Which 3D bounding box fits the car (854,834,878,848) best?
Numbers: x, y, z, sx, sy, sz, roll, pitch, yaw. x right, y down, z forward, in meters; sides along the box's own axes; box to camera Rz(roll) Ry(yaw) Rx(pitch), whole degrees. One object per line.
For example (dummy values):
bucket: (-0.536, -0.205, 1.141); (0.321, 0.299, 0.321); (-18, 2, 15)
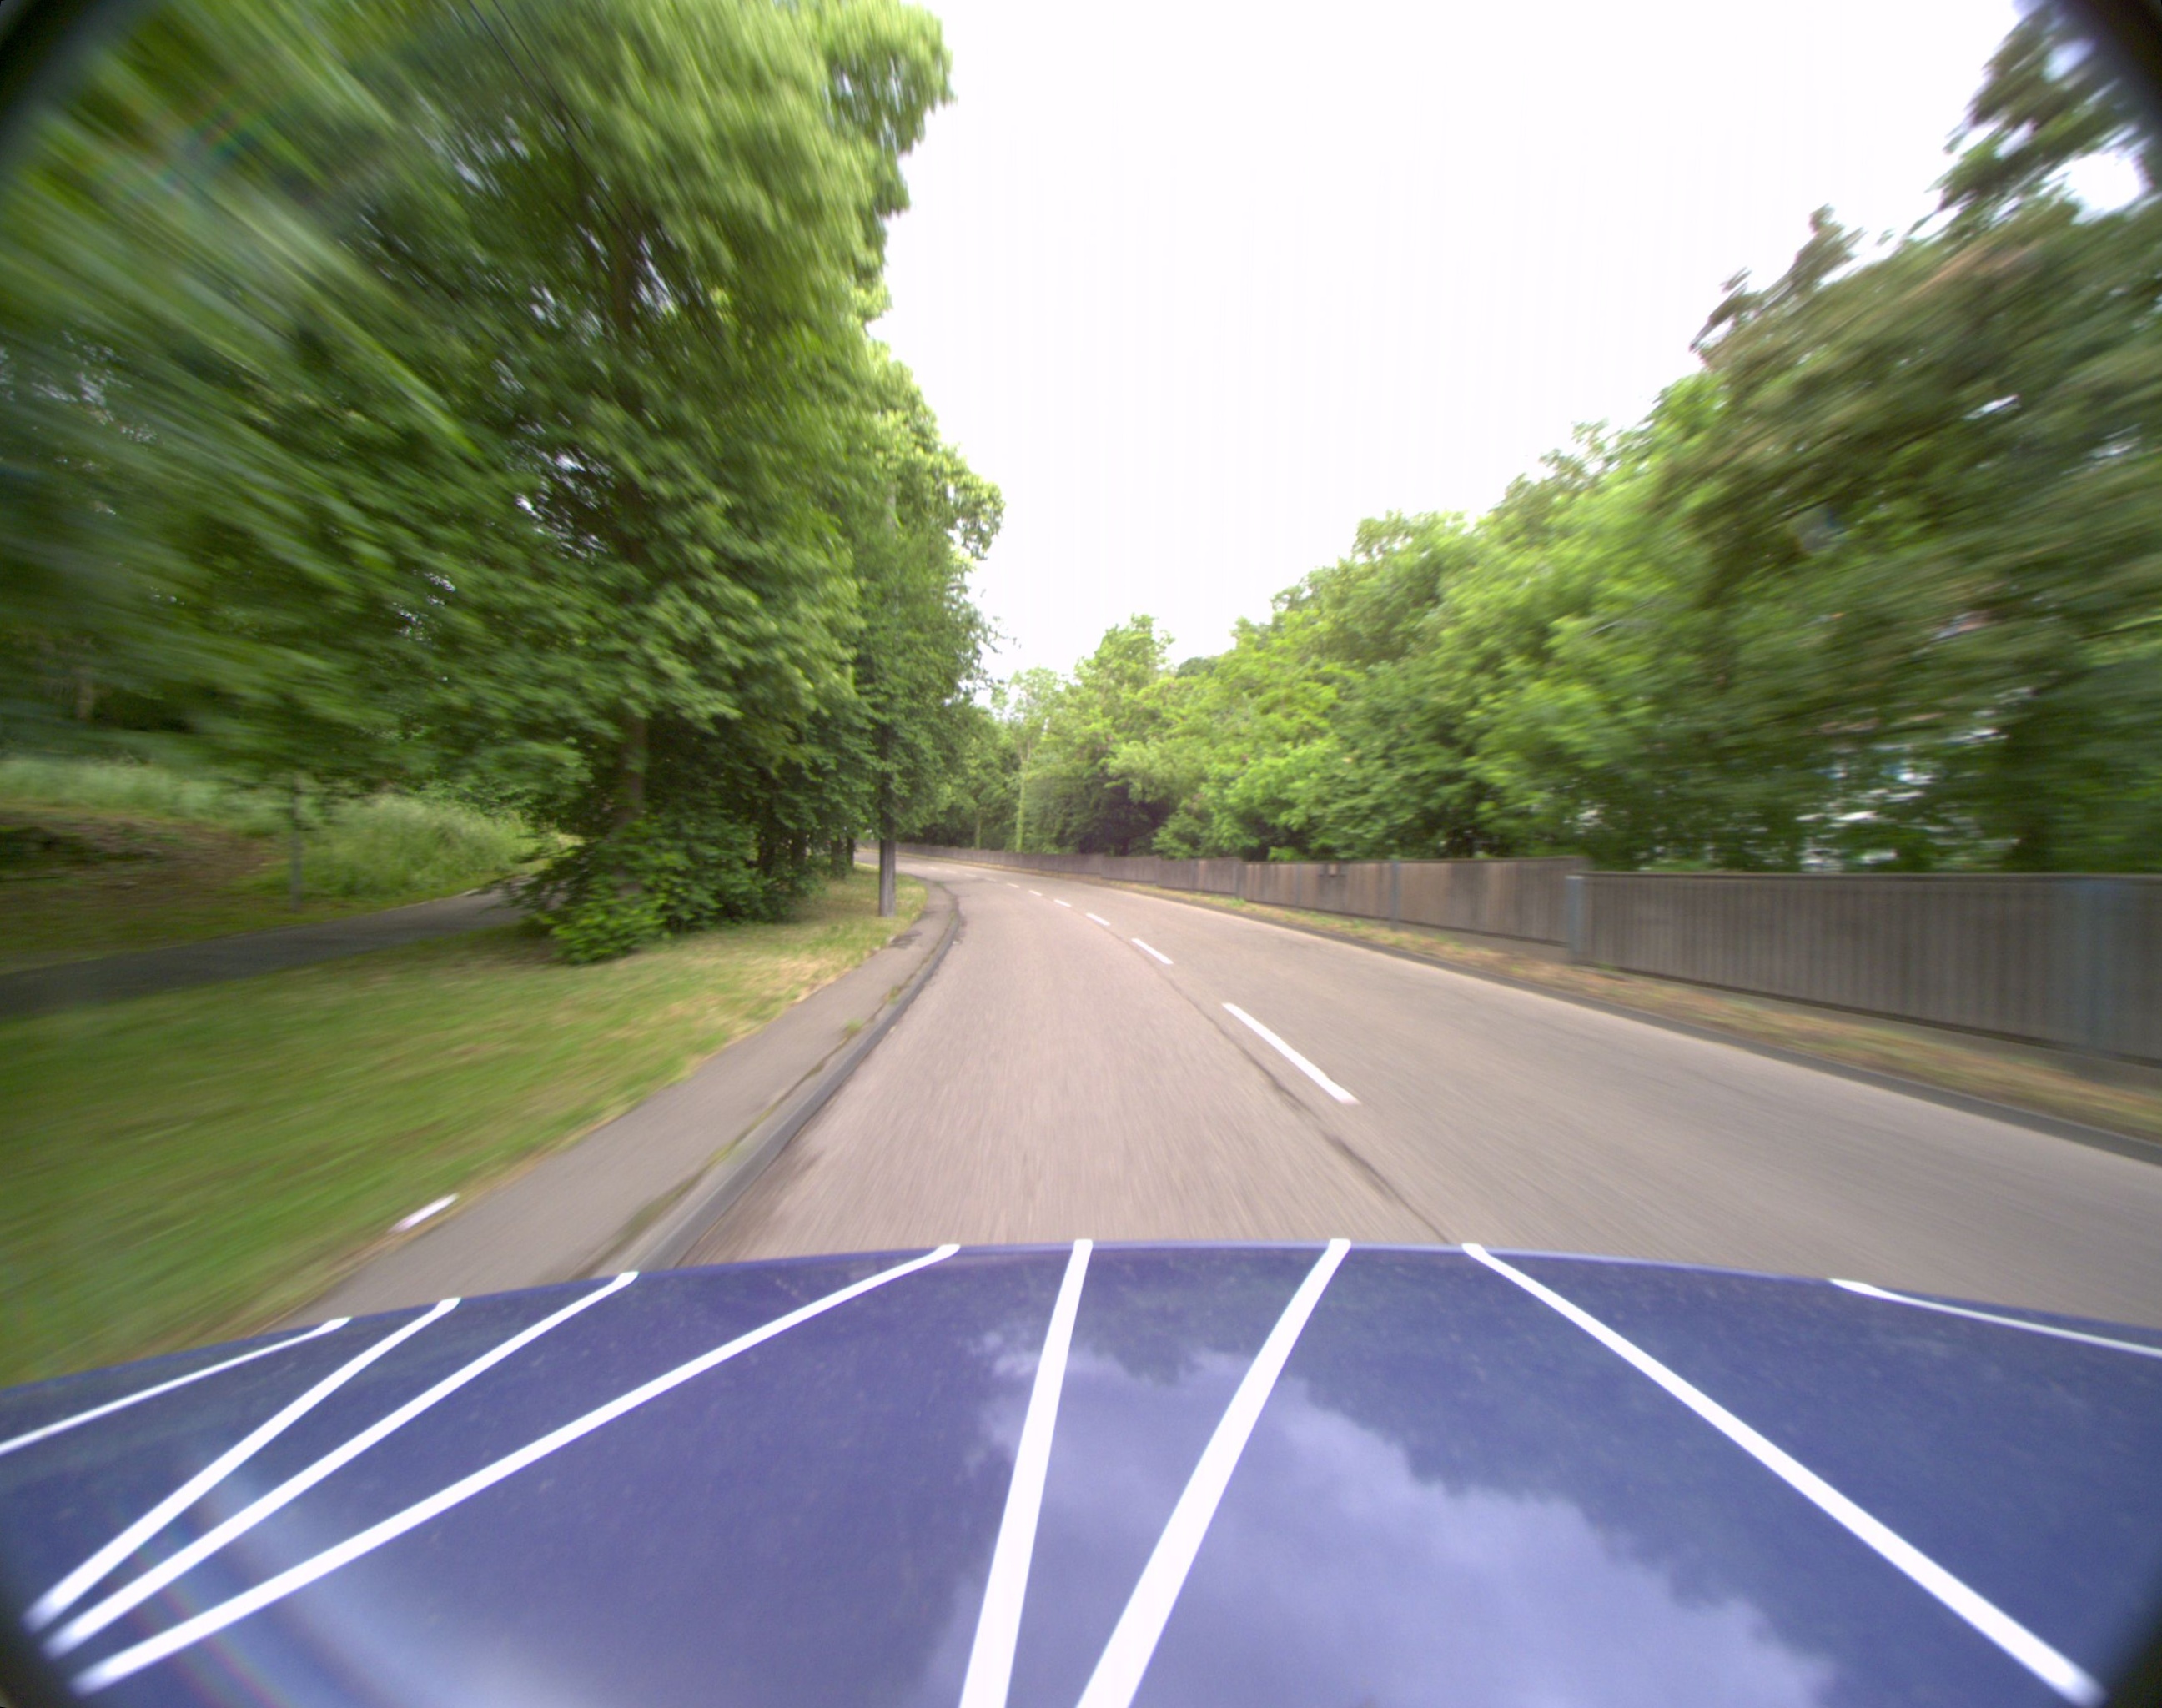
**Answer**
car: (-25.118, -1.488, 88.793); (1.733, 1.631, 4.044); (-1, 2, -30)
